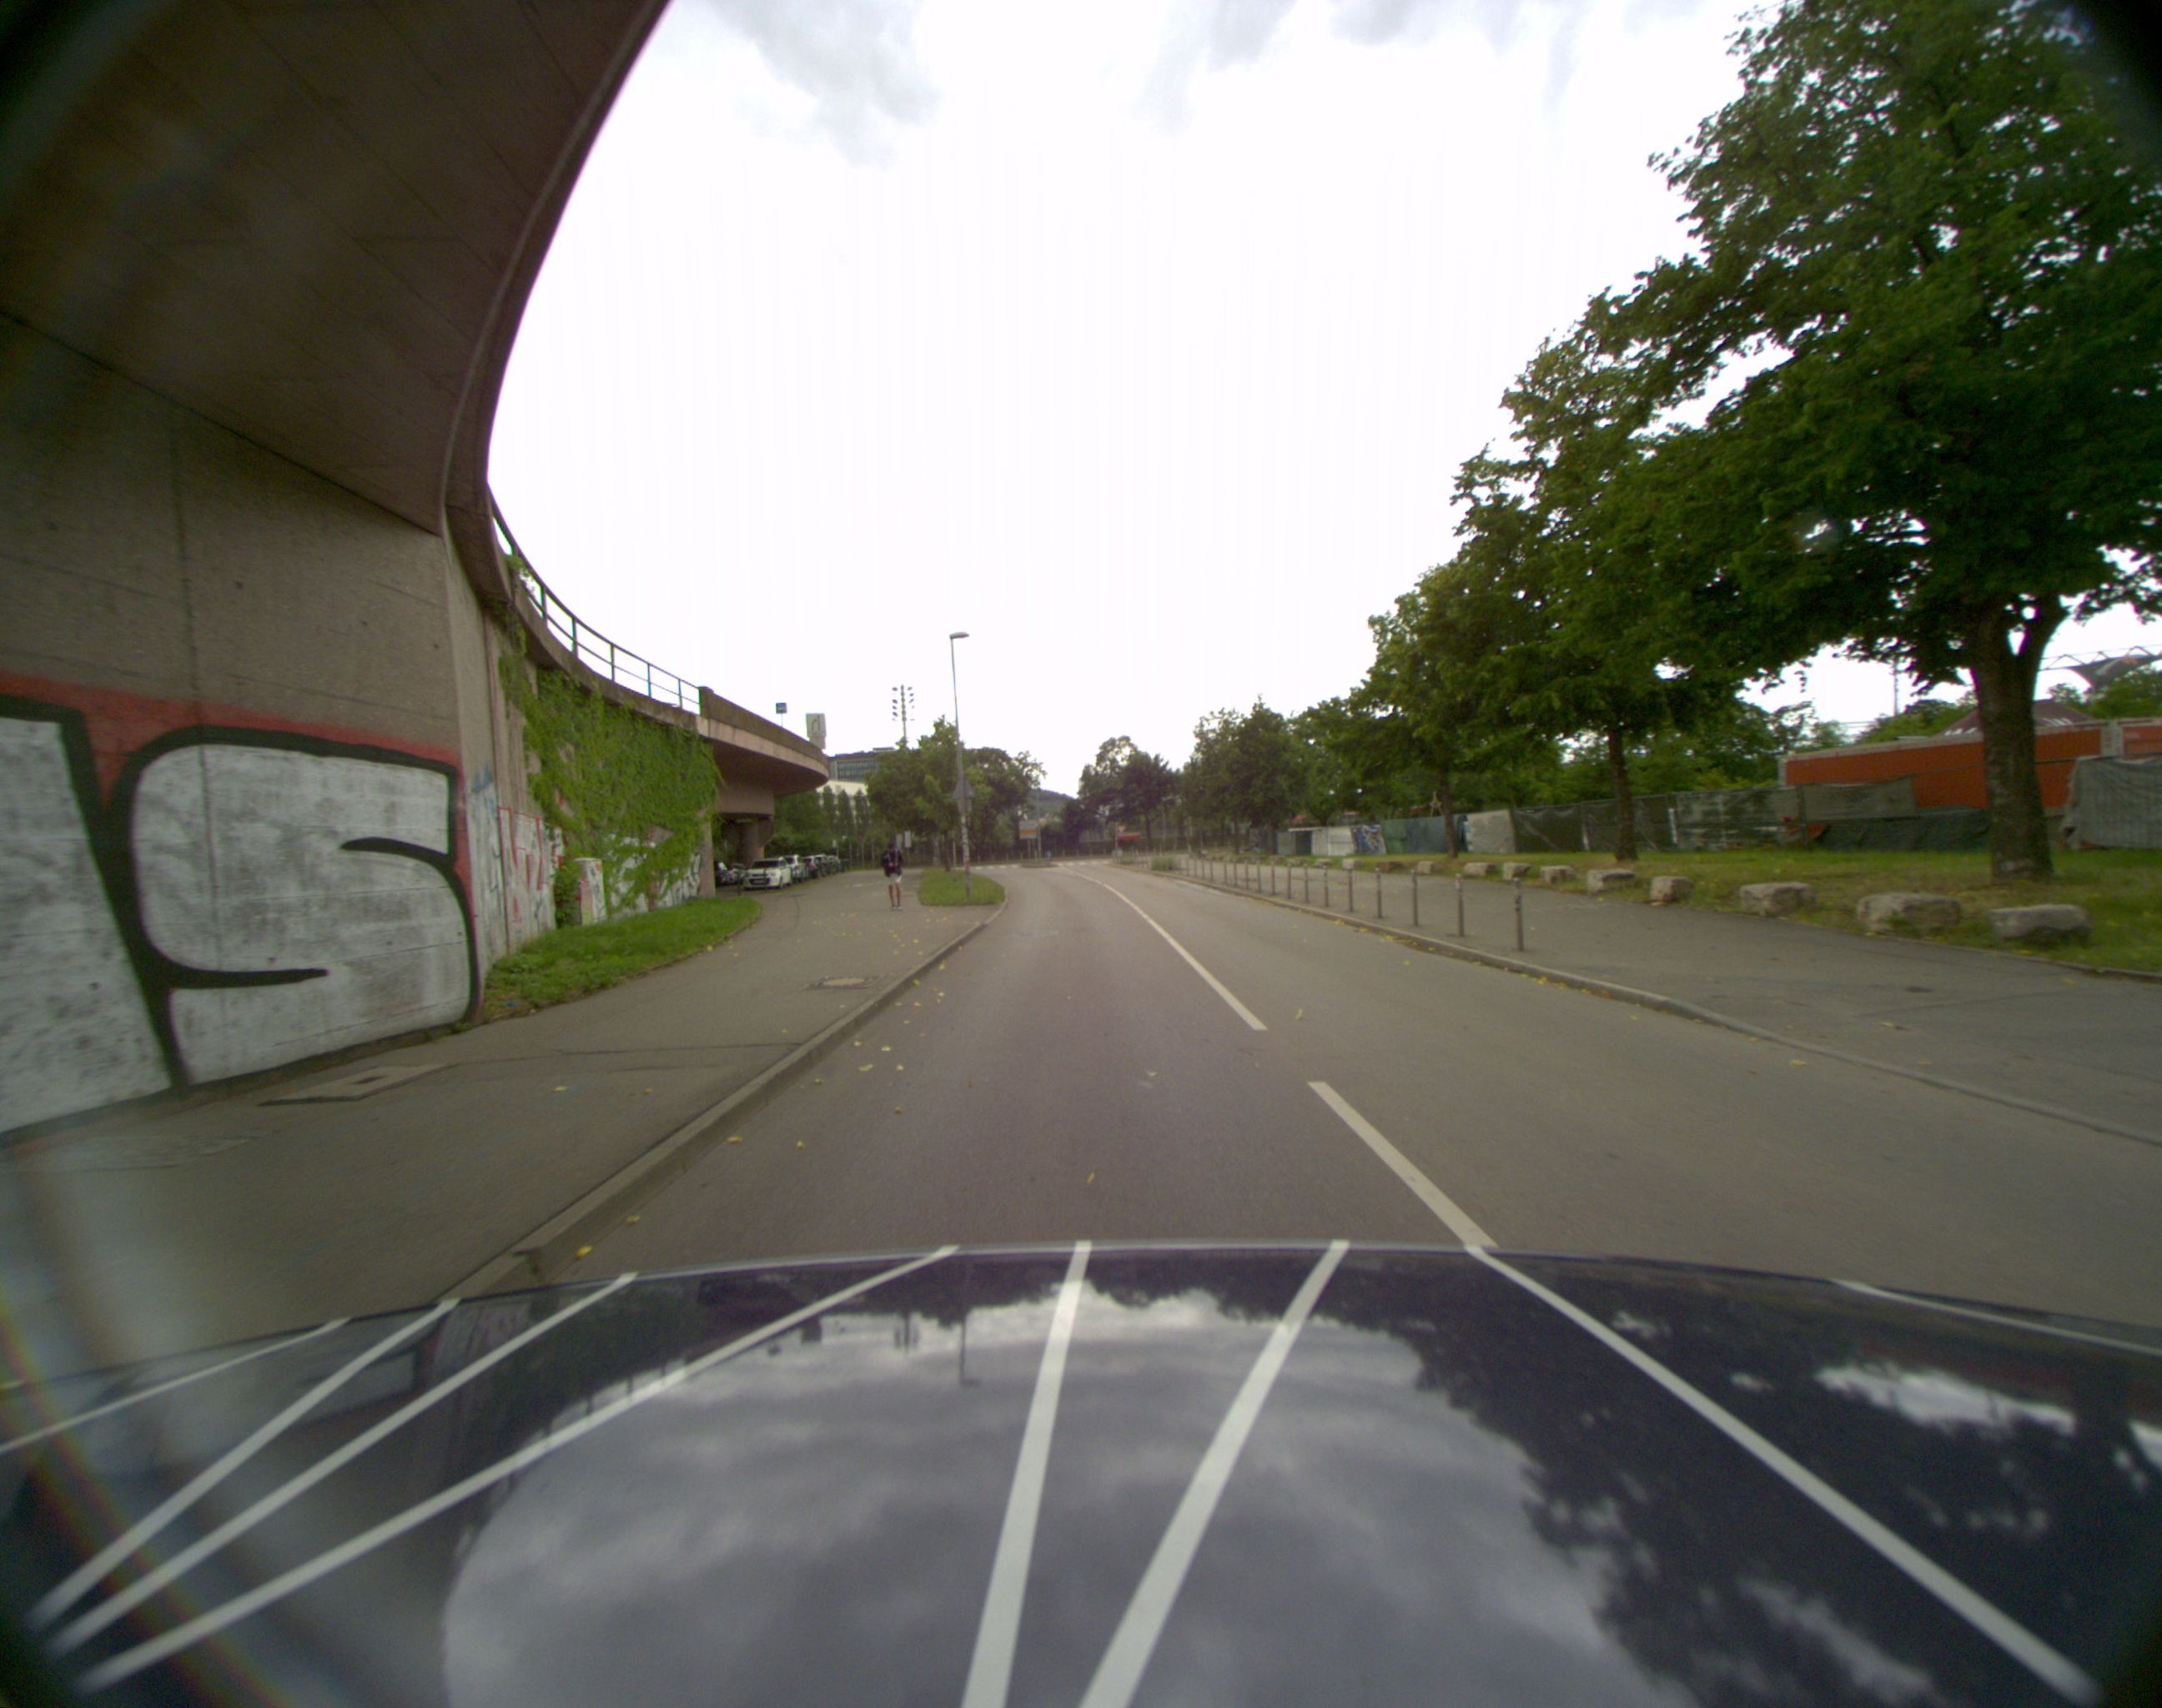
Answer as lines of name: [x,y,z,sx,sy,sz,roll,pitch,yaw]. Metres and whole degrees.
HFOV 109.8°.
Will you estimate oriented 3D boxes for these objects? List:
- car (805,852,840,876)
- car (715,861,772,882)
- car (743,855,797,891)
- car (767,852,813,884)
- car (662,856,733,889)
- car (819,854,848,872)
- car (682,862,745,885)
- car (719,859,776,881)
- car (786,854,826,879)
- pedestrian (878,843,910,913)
car: [-17.645,0.670,51.917,1.628,1.366,4.171,-8,2,-12]
car: [-23.694,1.199,53.446,3.314,1.297,1.486,-2,2,-7]
car: [-14.649,0.862,35.939,1.611,1.437,3.471,-3,2,-10]
car: [-15.663,0.713,41.082,1.616,1.522,3.913,-4,1,-12]
car: [-22.335,1.038,44.355,3.319,1.678,1.435,-3,1,-6]
car: [-18.627,0.634,57.418,1.628,1.231,4.054,-3,1,-12]
car: [-23.564,1.251,48.845,3.319,1.288,1.350,-3,1,-6]
car: [-24.463,1.154,55.782,3.474,1.376,1.423,-2,2,-8]
car: [-16.800,0.756,46.538,1.628,1.308,3.772,-5,1,-12]
pedestrian: [-5.143,0.643,20.953,0.822,1.869,1.179,-1,1,-13]
